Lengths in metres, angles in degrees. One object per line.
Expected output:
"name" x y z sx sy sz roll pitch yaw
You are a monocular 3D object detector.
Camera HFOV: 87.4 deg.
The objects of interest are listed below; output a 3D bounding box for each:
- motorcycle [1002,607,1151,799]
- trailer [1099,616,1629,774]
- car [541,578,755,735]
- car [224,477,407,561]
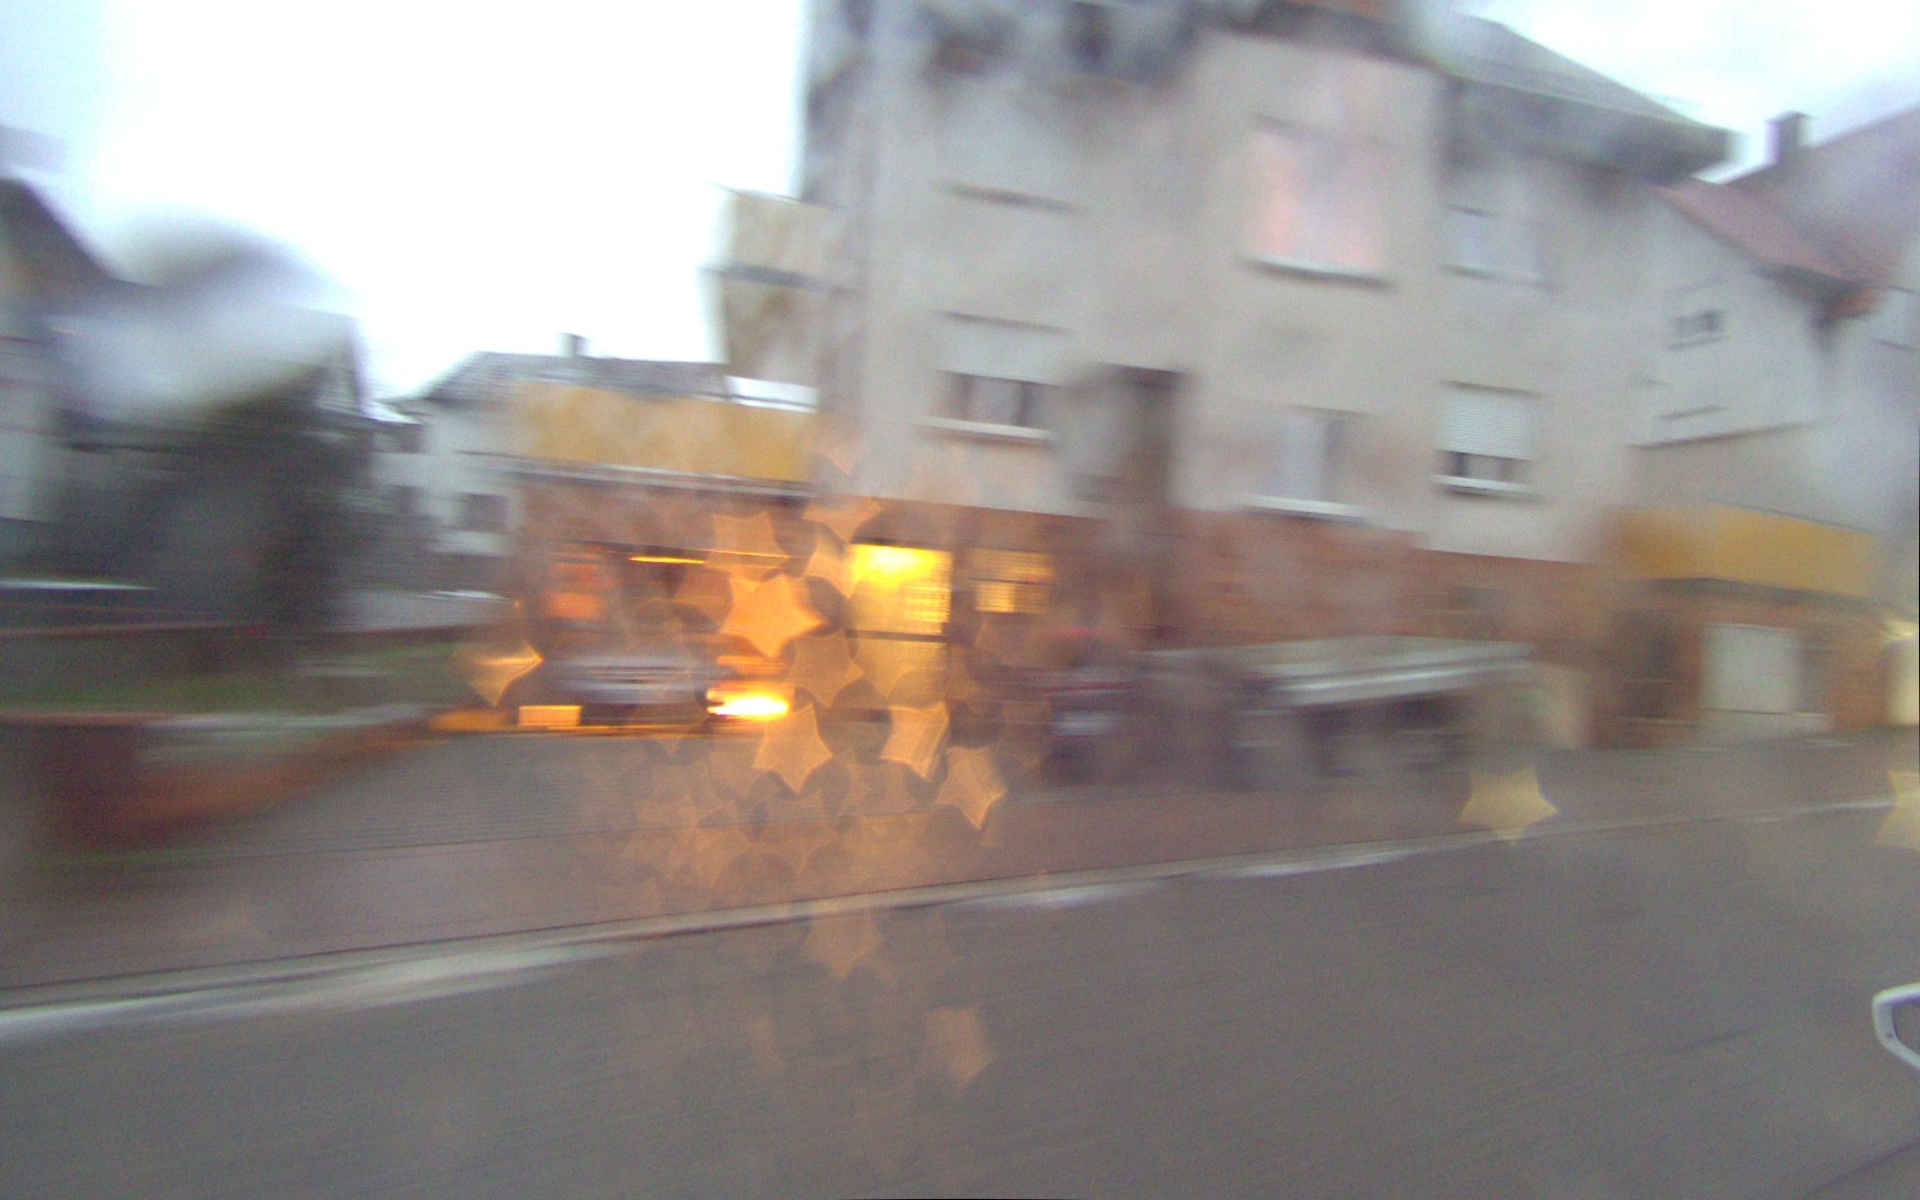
"motorcycle" 1.021 0.763 8.517 1.035 1.316 2.239 3 1 8
"trailer" 4.004 0.879 9.982 4.798 1.184 2.054 2 1 -22
"car" -3.361 0.512 11.396 1.884 1.435 3.989 2 1 -13
"car" -18.730 -2.312 29.378 3.927 2.040 1.997 4 1 -8
